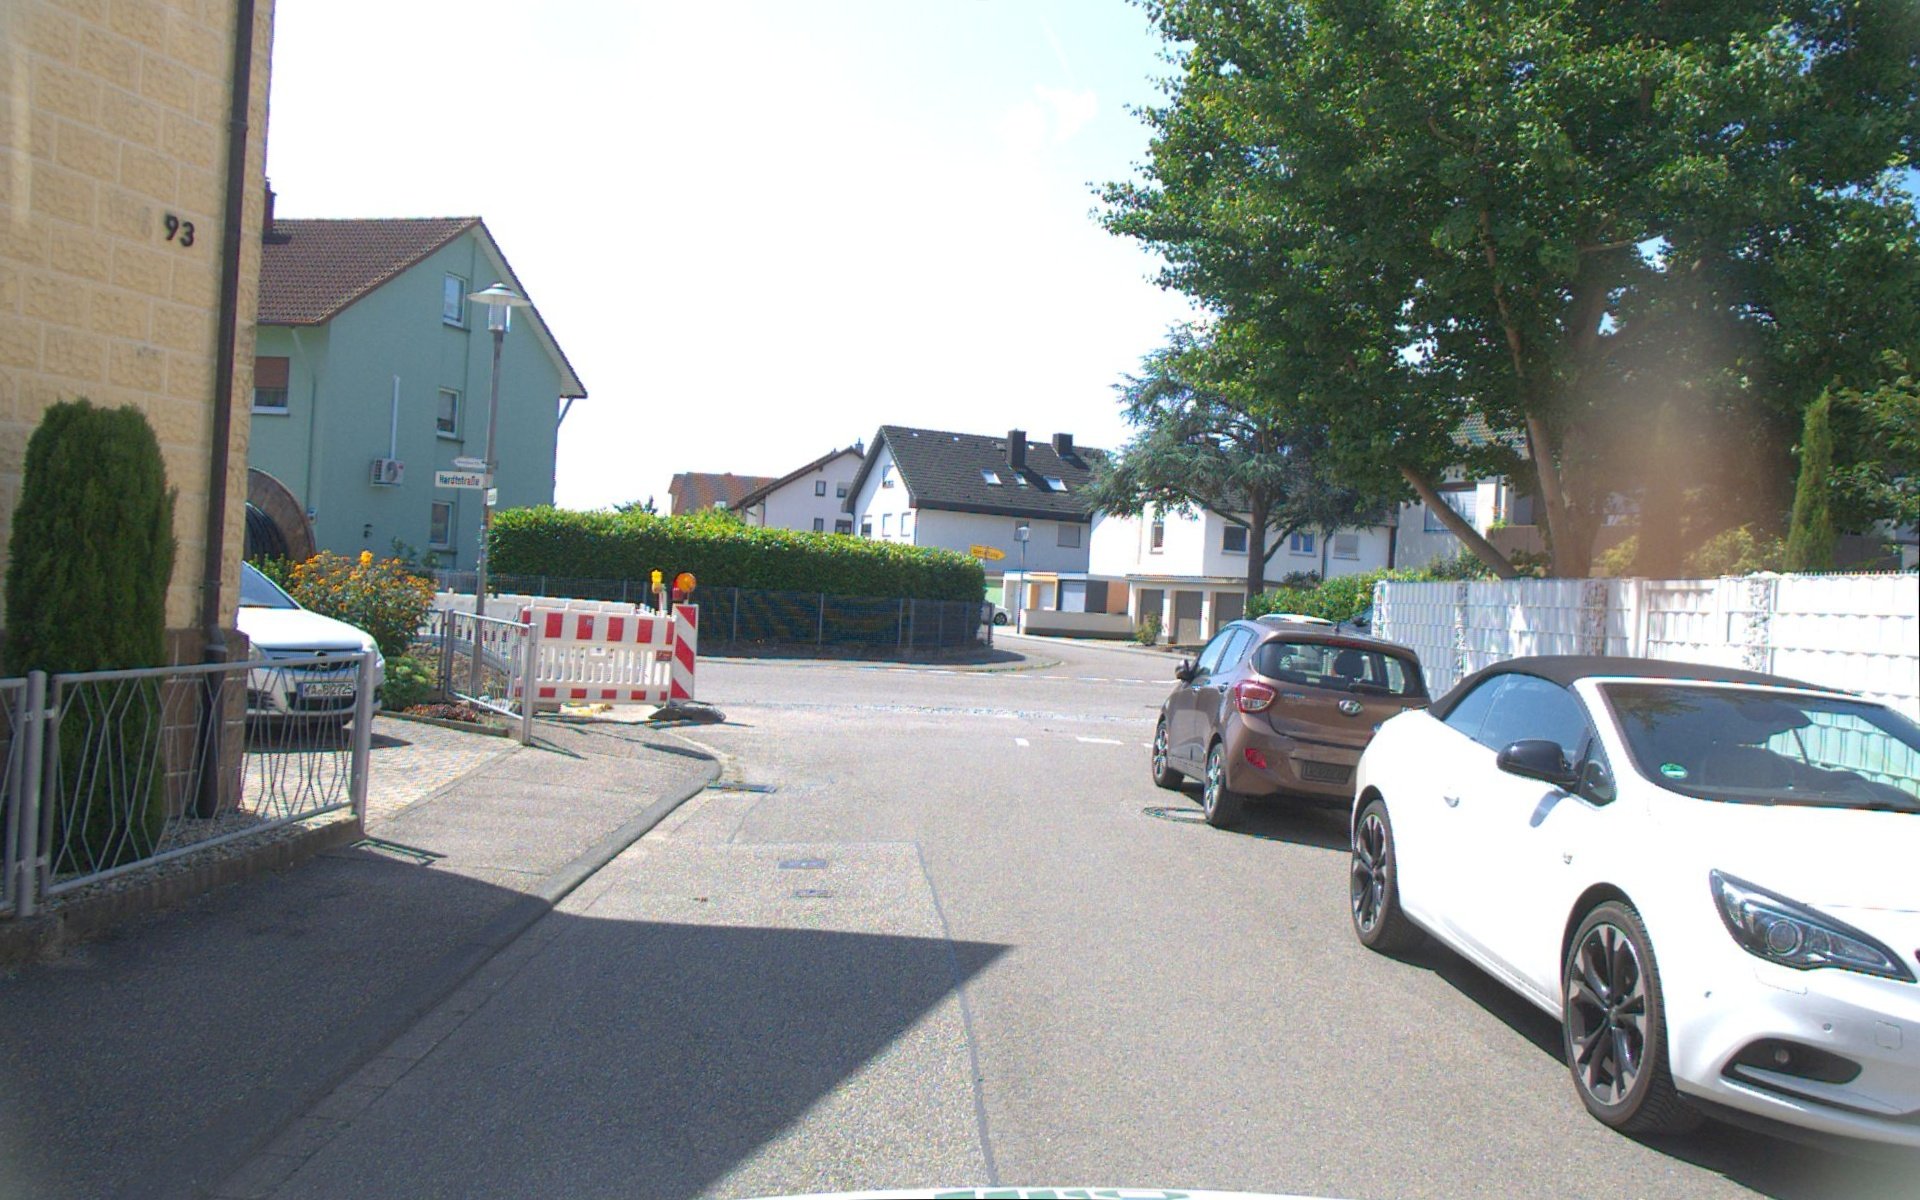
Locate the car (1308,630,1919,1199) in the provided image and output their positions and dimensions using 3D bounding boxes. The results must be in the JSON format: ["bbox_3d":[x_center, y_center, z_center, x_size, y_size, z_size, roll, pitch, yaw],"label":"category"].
[{"bbox_3d":[2.961,0.956,6.643,1.858,1.453,4.734,4,0,-3],"label":"car"}]

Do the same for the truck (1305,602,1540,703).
[{"bbox_3d":[11.228,1.227,40.644,2.334,2.048,5.666,4,0,-26],"label":"truck"}]

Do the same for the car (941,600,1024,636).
[{"bbox_3d":[1.087,0.865,79.427,3.551,1.433,1.772,4,0,-23],"label":"car"}]

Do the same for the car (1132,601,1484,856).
[{"bbox_3d":[2.617,0.892,13.431,1.679,1.558,4.033,7,0,-3],"label":"car"}]

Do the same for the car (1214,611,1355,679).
[{"bbox_3d":[9.087,1.236,46.697,1.775,1.590,4.111,4,0,-25],"label":"car"}]

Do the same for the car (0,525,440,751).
[{"bbox_3d":[-6.549,0.225,13.672,4.377,1.511,1.788,4,0,31],"label":"car"}]
